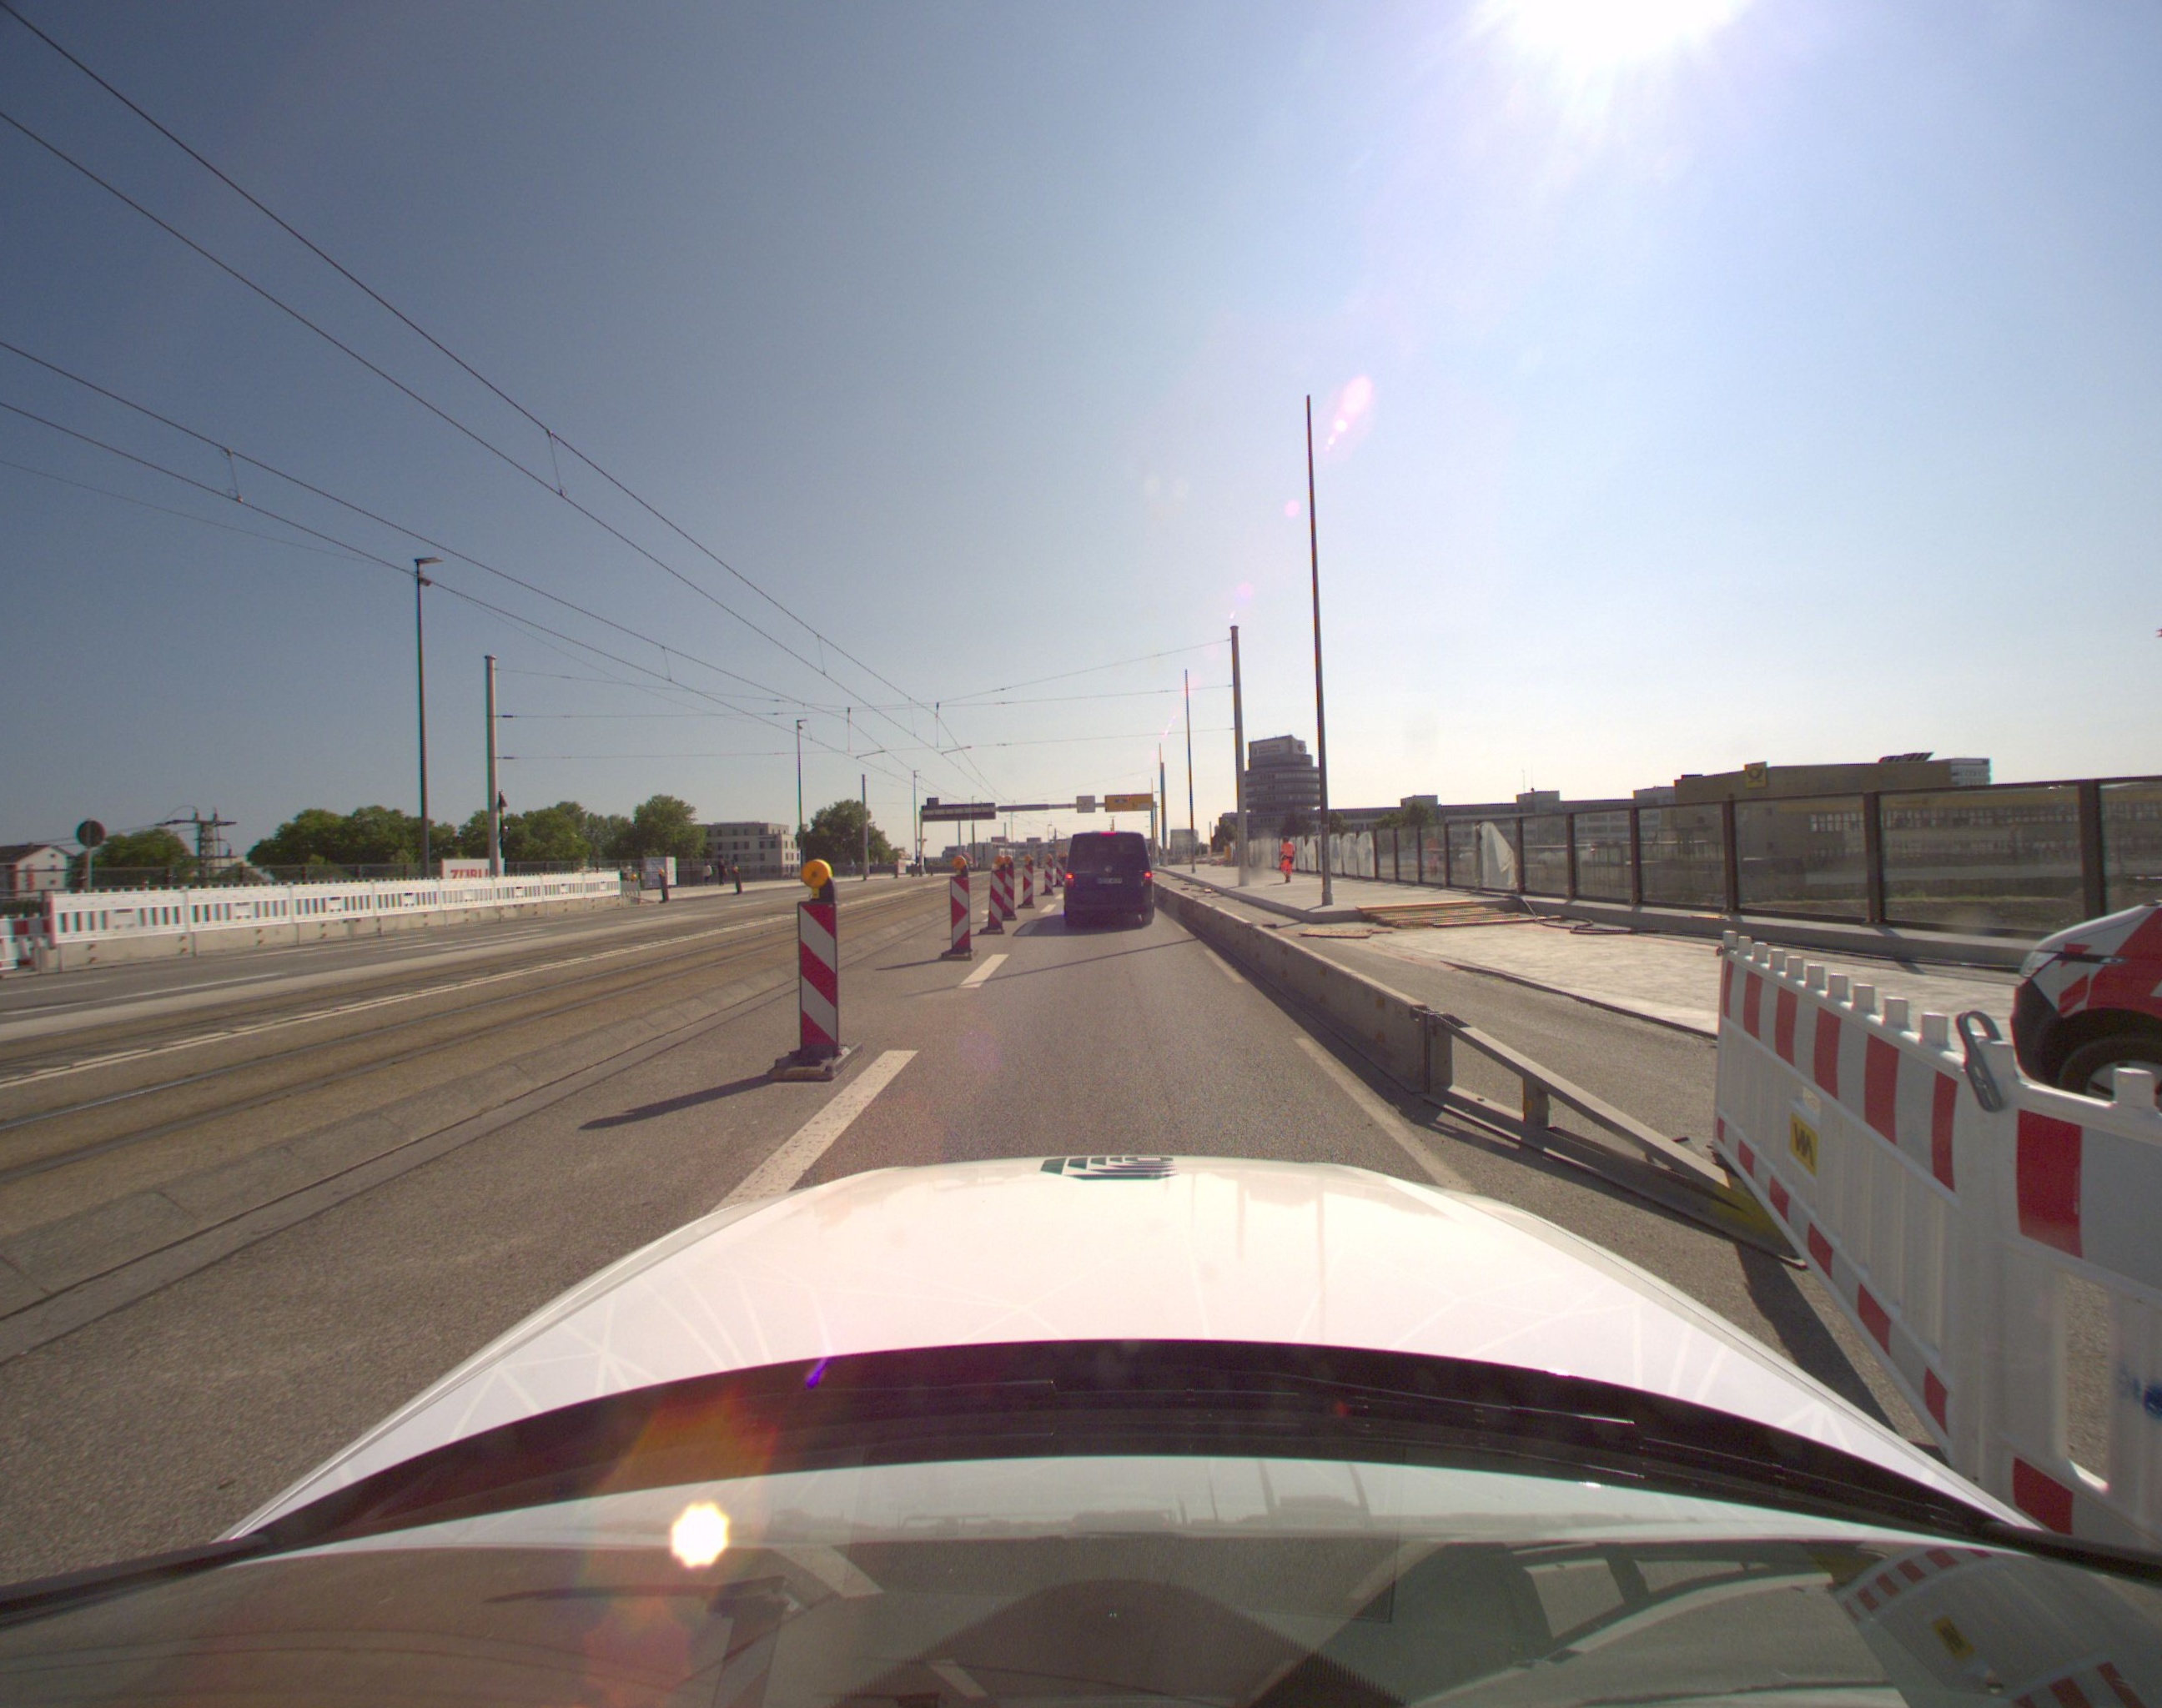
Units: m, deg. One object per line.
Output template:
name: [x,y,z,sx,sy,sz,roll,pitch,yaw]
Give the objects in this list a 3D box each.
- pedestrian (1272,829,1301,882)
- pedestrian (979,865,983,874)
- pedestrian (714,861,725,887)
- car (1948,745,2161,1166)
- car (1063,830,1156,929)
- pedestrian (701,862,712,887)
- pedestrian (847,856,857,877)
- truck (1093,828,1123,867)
pedestrian: [7.752,0.075,30.766,0.779,1.935,0.799,-3,-1,1]
pedestrian: [-18.016,2.759,146.436,0.631,1.598,0.752,-1,0,1]
pedestrian: [-24.182,1.330,54.513,0.493,1.694,0.474,-1,-1,1]
car: [6.073,0.479,2.447,1.871,2.033,4.895,-1,0,3]
car: [0.607,0.483,18.268,1.809,1.905,4.055,-2,1,1]
pedestrian: [-25.069,1.360,54.555,0.493,1.694,0.474,-1,-1,1]
pedestrian: [-21.458,1.155,76.308,0.631,1.893,0.752,-1,0,1]
truck: [2.410,-0.609,73.638,2.451,3.134,11.220,-2,1,2]
